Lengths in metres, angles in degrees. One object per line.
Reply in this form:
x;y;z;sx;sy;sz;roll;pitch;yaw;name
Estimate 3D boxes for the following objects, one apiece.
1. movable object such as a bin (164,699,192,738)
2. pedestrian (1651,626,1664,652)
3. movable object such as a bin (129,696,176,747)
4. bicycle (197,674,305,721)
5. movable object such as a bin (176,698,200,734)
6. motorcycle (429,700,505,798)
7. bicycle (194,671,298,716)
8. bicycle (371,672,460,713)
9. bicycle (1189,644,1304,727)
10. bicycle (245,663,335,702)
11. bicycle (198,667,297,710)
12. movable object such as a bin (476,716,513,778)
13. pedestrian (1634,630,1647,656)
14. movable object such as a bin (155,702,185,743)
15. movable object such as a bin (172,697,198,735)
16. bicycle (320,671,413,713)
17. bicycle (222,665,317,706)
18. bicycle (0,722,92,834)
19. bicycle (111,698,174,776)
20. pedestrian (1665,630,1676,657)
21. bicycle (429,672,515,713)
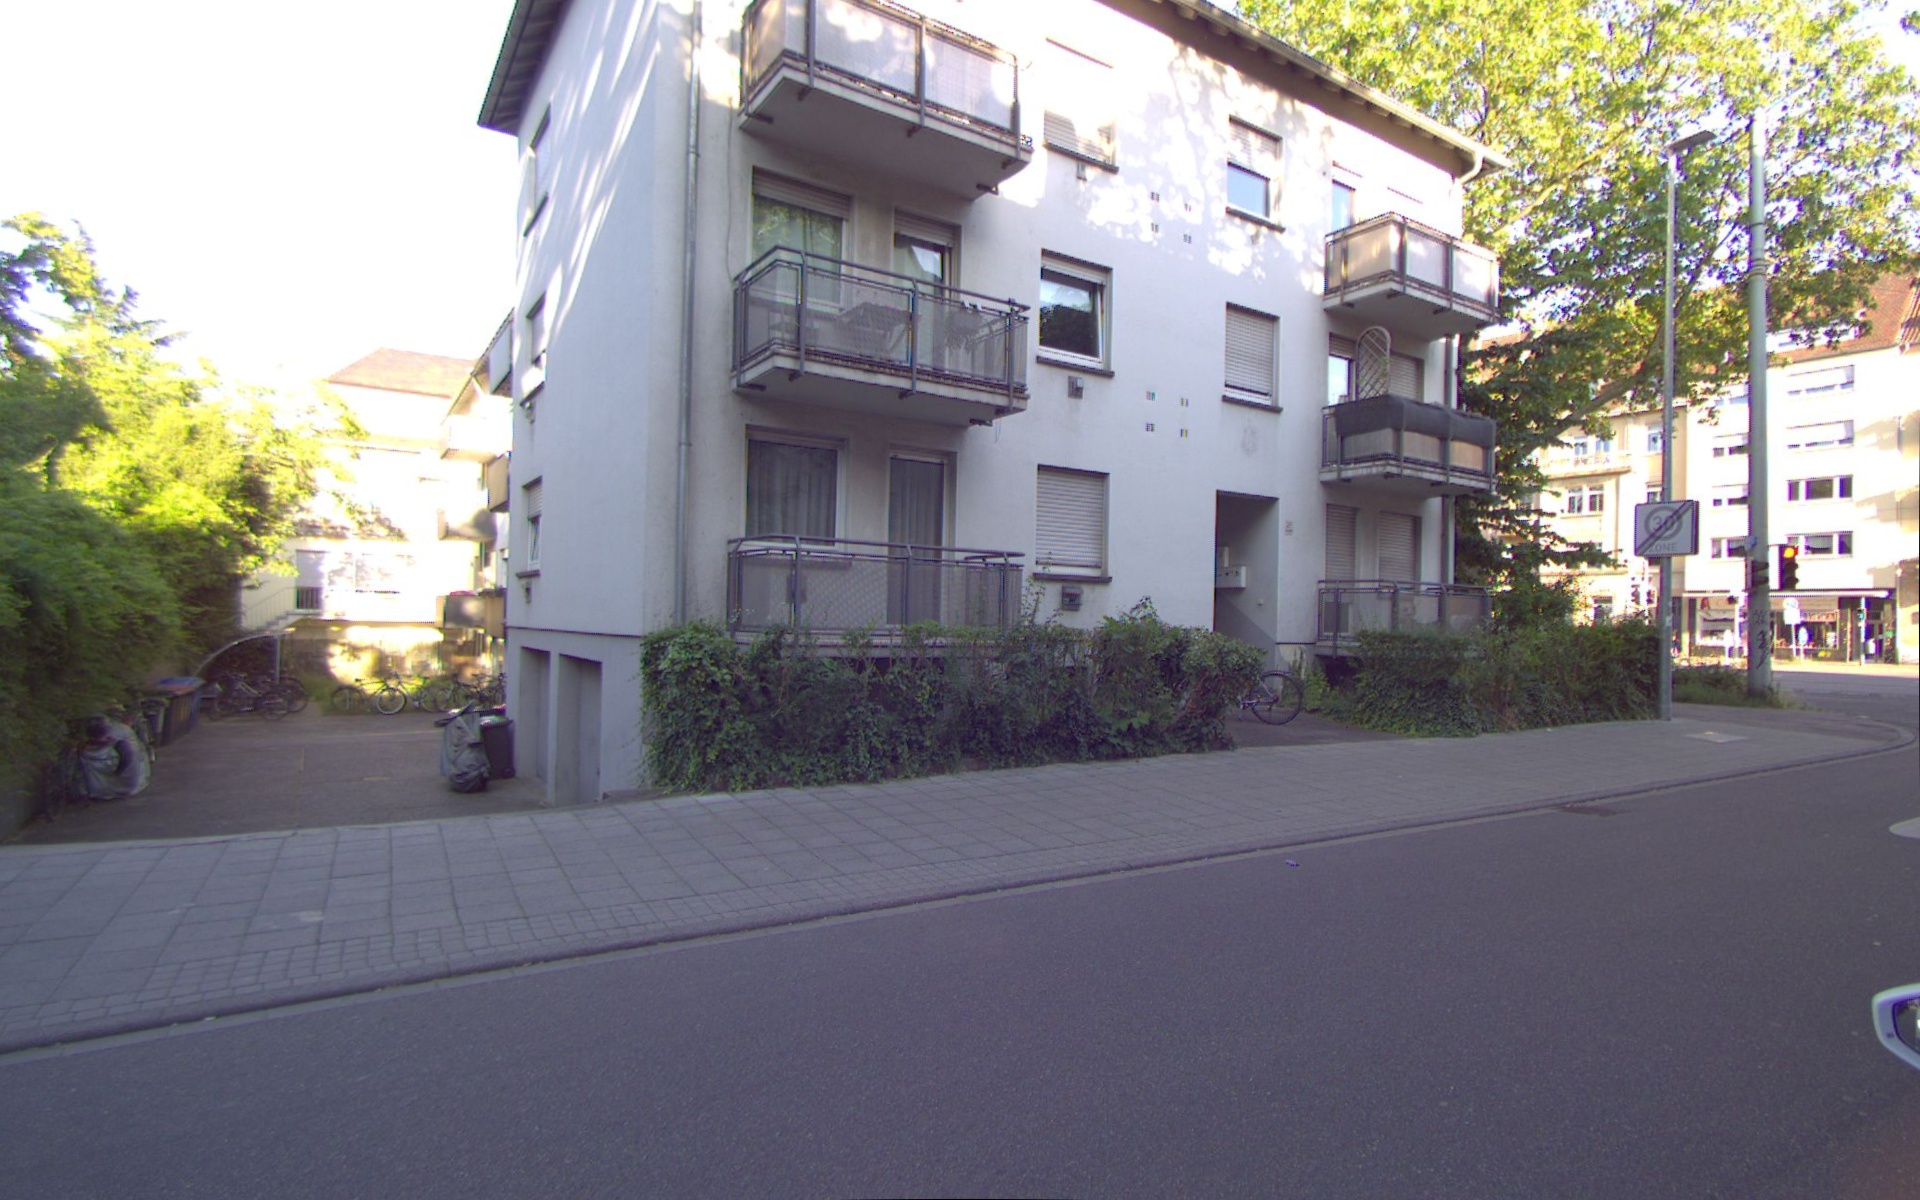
-16.027;2.428;20.591;0.371;0.768;0.361;2;-4;-30;movable object such as a bin
40.410;2.251;58.225;0.558;1.531;0.499;0;-1;41;pedestrian
-14.955;2.243;18.617;0.570;0.891;0.491;2;-4;-30;movable object such as a bin
-17.281;2.387;24.546;2.045;1.034;0.637;4;0;-30;bicycle
-16.609;2.492;21.619;0.342;0.768;0.361;2;-4;-30;movable object such as a bin
-7.393;2.188;15.026;0.751;1.268;1.577;1;-2;-36;motorcycle
-18.032;2.369;25.424;2.045;1.034;0.568;4;0;-30;bicycle
-14.728;2.505;27.190;2.045;1.034;0.637;4;0;-30;bicycle
3.879;1.144;13.611;1.433;0.988;0.407;3;0;21;bicycle
-19.023;2.355;28.560;2.045;1.034;0.564;4;0;-30;bicycle
-18.865;2.350;26.651;2.045;1.034;0.611;4;0;-30;bicycle
-7.505;2.351;16.179;0.428;0.899;0.720;1;-2;-34;movable object such as a bin
40.999;2.570;60.508;0.526;1.531;0.510;1;-1;18;pedestrian
-15.649;2.417;19.914;0.393;0.784;0.361;2;-4;-30;movable object such as a bin
-16.407;2.455;21.281;0.362;0.768;0.361;2;-4;-30;movable object such as a bin
-15.698;2.446;26.609;2.045;1.034;0.637;4;0;-30;bicycle
-19.000;2.351;27.688;2.045;1.034;0.611;4;0;-30;bicycle
-10.992;2.092;12.069;0.509;1.033;1.922;3;-1;-32;bicycle
-13.226;2.183;16.289;0.509;1.033;1.922;3;-1;-32;bicycle
41.479;2.531;58.632;0.467;1.531;0.429;0;-1;41;pedestrian
-13.539;2.575;27.887;2.045;1.034;0.637;4;0;-30;bicycle
